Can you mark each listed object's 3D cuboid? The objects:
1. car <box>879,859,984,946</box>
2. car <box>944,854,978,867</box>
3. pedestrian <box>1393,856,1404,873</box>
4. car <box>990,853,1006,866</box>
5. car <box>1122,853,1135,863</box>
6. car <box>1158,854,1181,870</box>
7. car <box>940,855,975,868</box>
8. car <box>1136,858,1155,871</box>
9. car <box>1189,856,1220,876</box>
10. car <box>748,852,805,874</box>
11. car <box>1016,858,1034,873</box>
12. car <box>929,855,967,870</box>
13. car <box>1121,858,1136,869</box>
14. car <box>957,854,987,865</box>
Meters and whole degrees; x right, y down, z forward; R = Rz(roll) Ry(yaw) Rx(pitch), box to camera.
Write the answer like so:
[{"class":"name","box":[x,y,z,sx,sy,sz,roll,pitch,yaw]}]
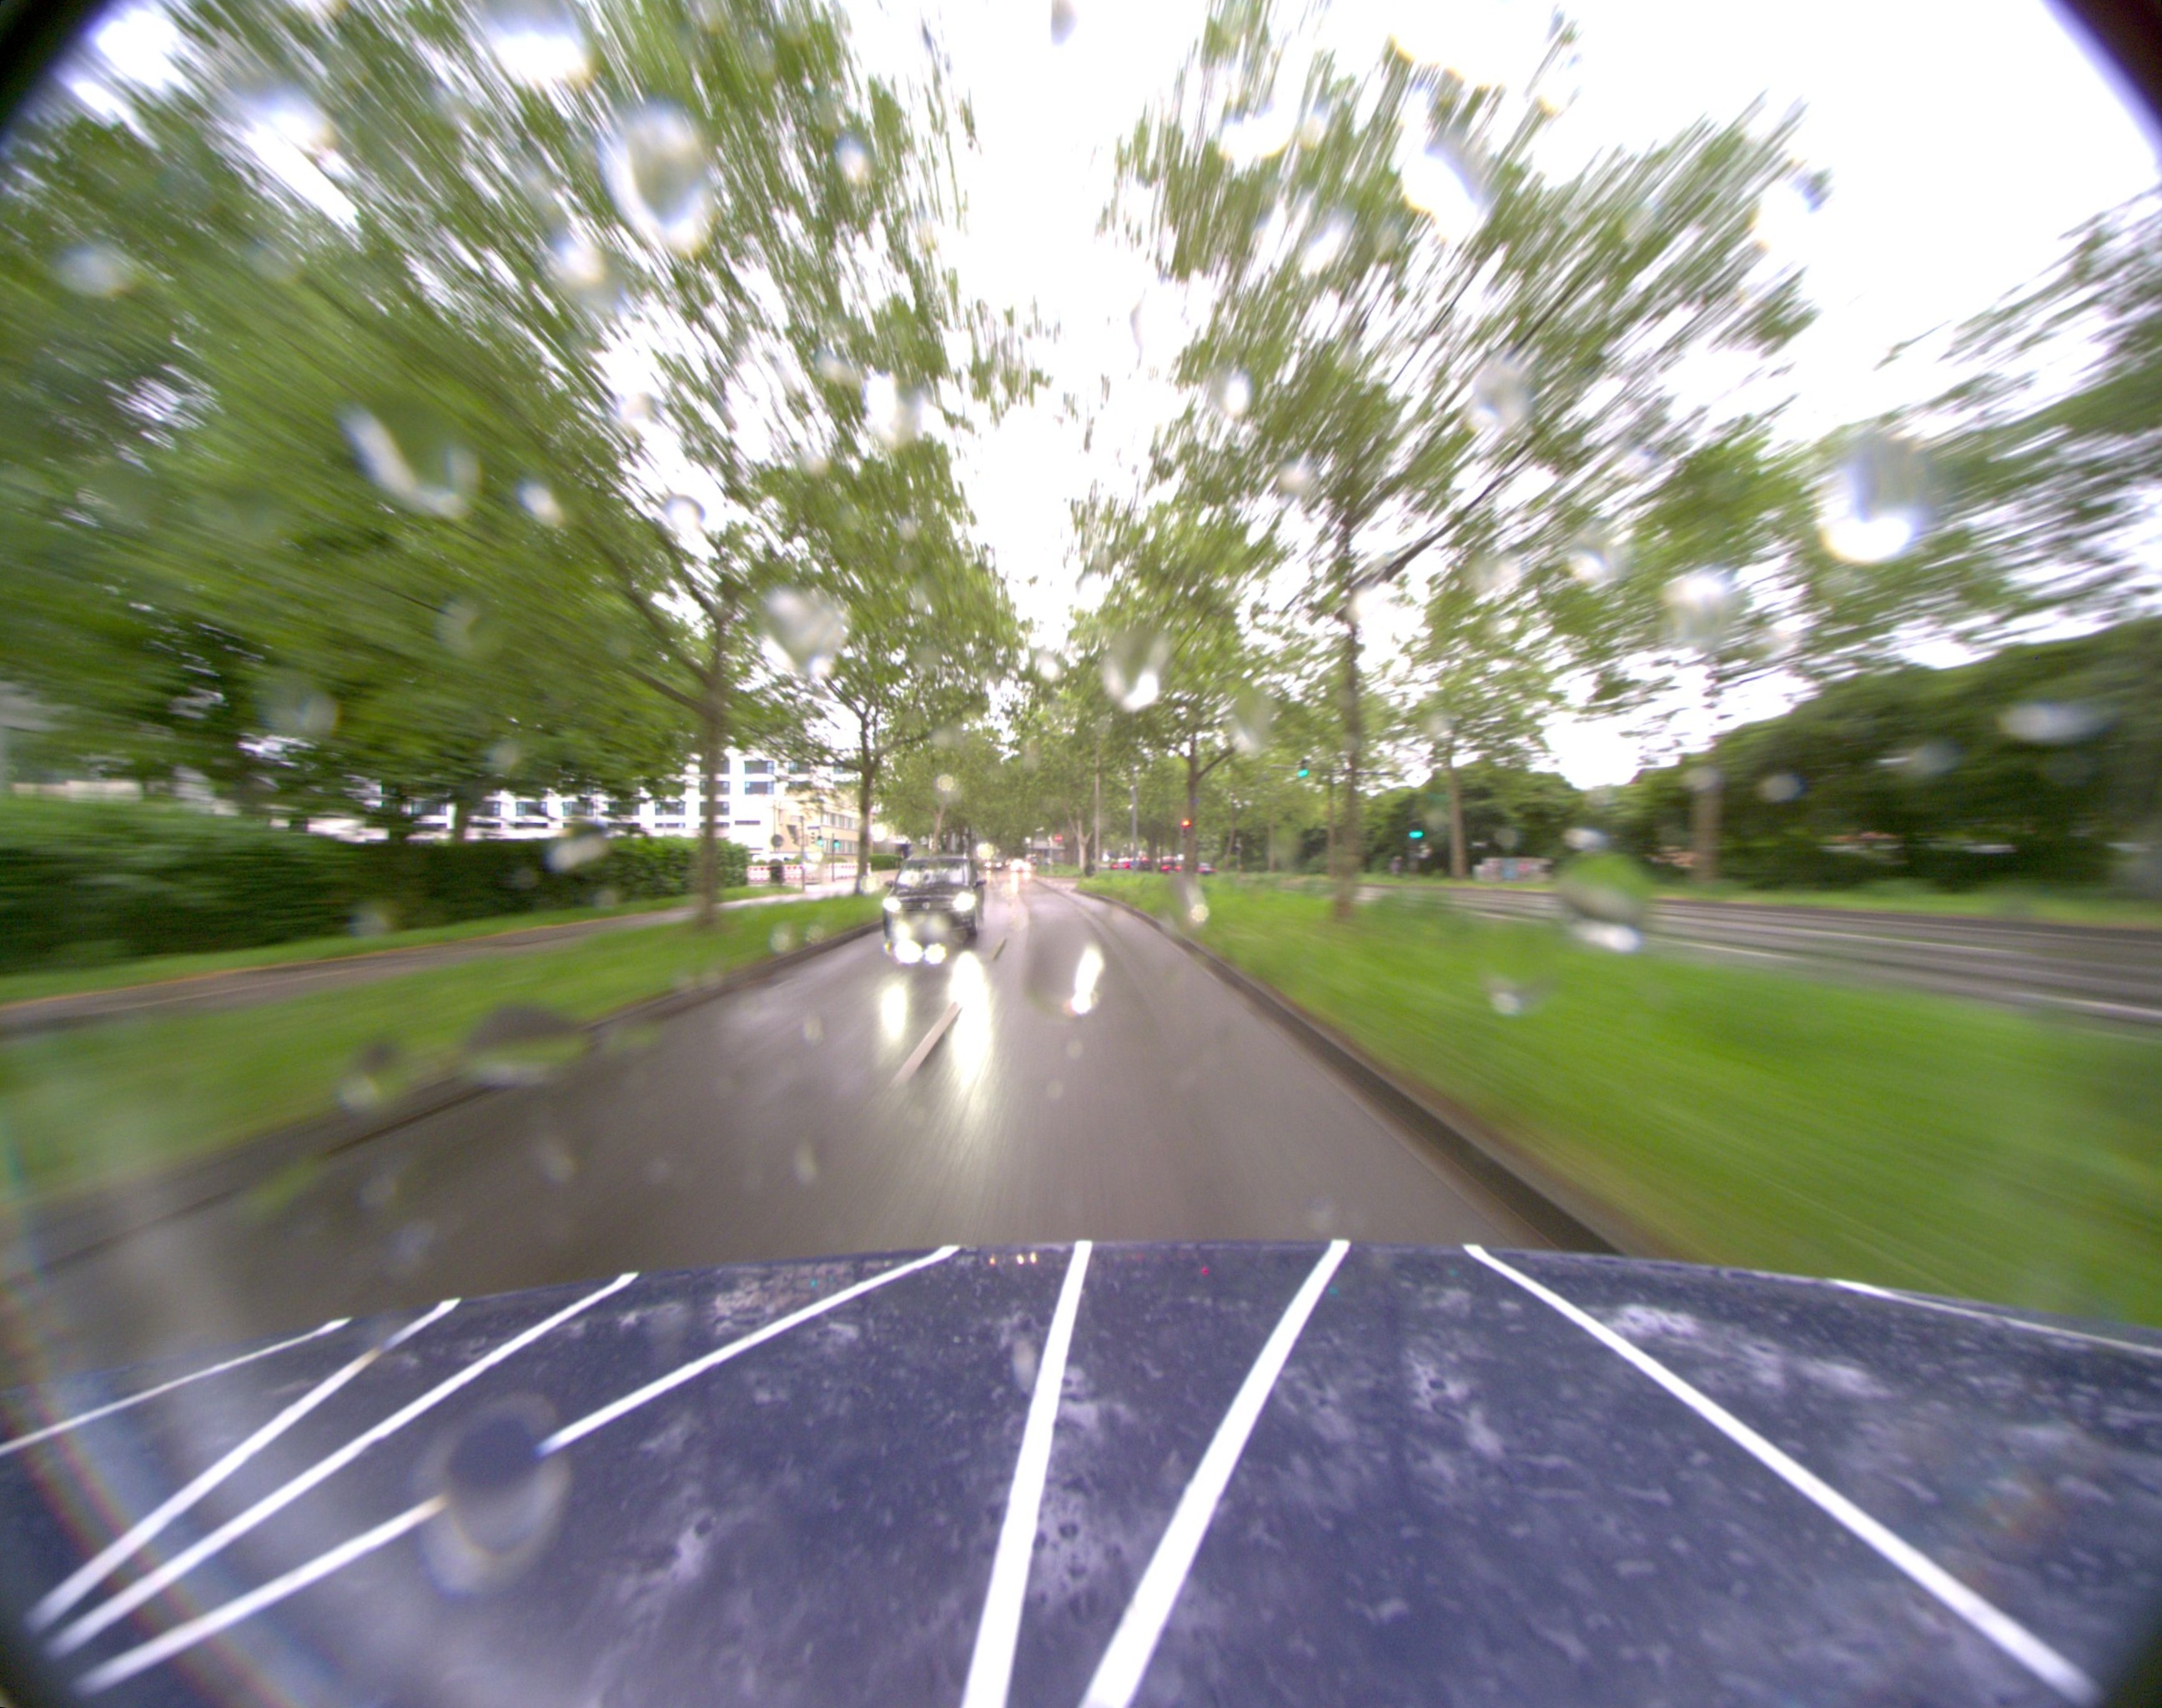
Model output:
[{"class":"car","box":[-3.008,0.899,16.022,1.785,1.546,3.998,-1,0,-6]},{"class":"car","box":[-14.856,0.825,94.267,3.999,1.546,1.784,-1,0,-6]},{"class":"pedestrian","box":[19.900,0.663,47.598,0.475,1.034,0.441,0,0,1]},{"class":"car","box":[-10.081,0.608,92.613,1.785,1.546,3.998,-1,0,-5]},{"class":"car","box":[7.999,0.627,127.824,1.784,1.546,3.999,-1,0,-3]},{"class":"car","box":[9.088,0.777,78.314,1.784,1.546,3.999,-1,0,-3]},{"class":"car","box":[-14.399,0.870,88.747,3.999,1.546,1.784,-1,0,-6]},{"class":"car","box":[7.886,1.223,93.158,1.784,1.546,3.999,-1,0,-3]},{"class":"car","box":[10.549,1.004,65.095,1.784,1.546,3.999,-1,0,-3]},{"class":"car","box":[-25.161,0.704,62.882,3.999,1.760,1.784,-1,0,-6]},{"class":"car","box":[-5.893,1.210,79.820,1.785,1.546,3.998,-1,0,-5]},{"class":"car","box":[-14.559,0.930,83.212,3.999,1.546,1.784,-1,0,-6]},{"class":"car","box":[6.982,1.419,112.735,1.784,1.546,3.999,-1,0,-3]},{"class":"car","box":[-14.837,0.731,103.427,3.999,1.546,1.784,-1,0,-6]}]
